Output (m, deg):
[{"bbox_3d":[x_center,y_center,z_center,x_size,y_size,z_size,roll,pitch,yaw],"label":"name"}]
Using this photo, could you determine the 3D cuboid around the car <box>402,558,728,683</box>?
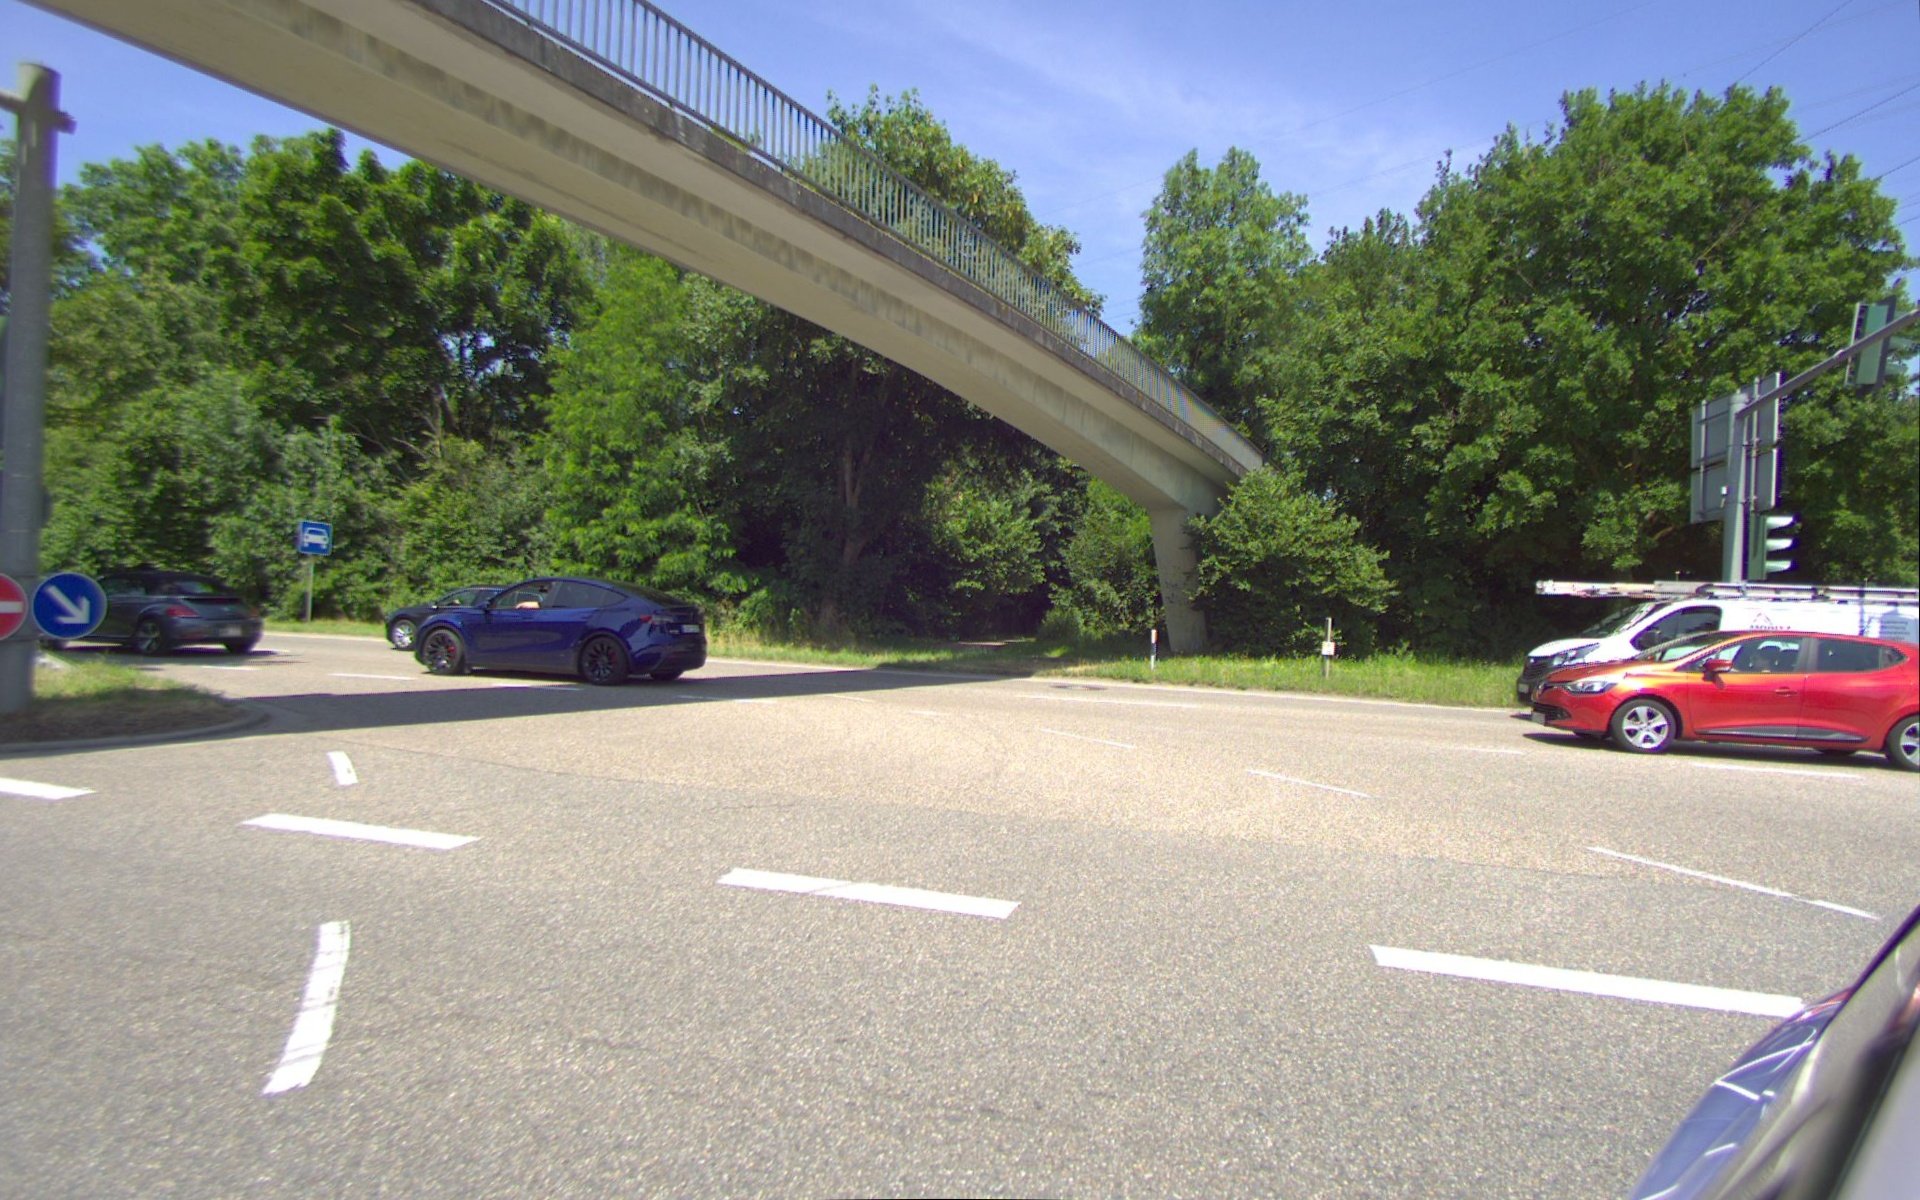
[{"bbox_3d":[-6.125,0.296,15.826,4.456,1.666,1.897,2,-2,15],"label":"car"}]

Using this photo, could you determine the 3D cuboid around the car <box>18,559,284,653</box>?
[{"bbox_3d":[-14.744,0.092,18.505,3.884,1.496,1.896,2,0,16],"label":"car"}]

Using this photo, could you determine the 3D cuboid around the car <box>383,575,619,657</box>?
[{"bbox_3d":[-9.602,0.292,21.242,4.319,1.496,1.897,2,1,16],"label":"car"}]

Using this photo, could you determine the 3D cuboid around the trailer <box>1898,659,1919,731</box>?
[{"bbox_3d":[15.129,1.397,13.574,3.277,1.019,1.702,2,-1,16],"label":"trailer"}]

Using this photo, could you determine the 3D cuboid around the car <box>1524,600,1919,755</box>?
[{"bbox_3d":[8.921,0.835,11.531,4.006,1.480,1.740,2,-2,15],"label":"car"}]

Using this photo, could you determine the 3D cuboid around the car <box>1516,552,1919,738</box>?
[{"bbox_3d":[11.156,0.605,14.735,5.004,2.379,1.928,2,-2,16],"label":"car"}]
